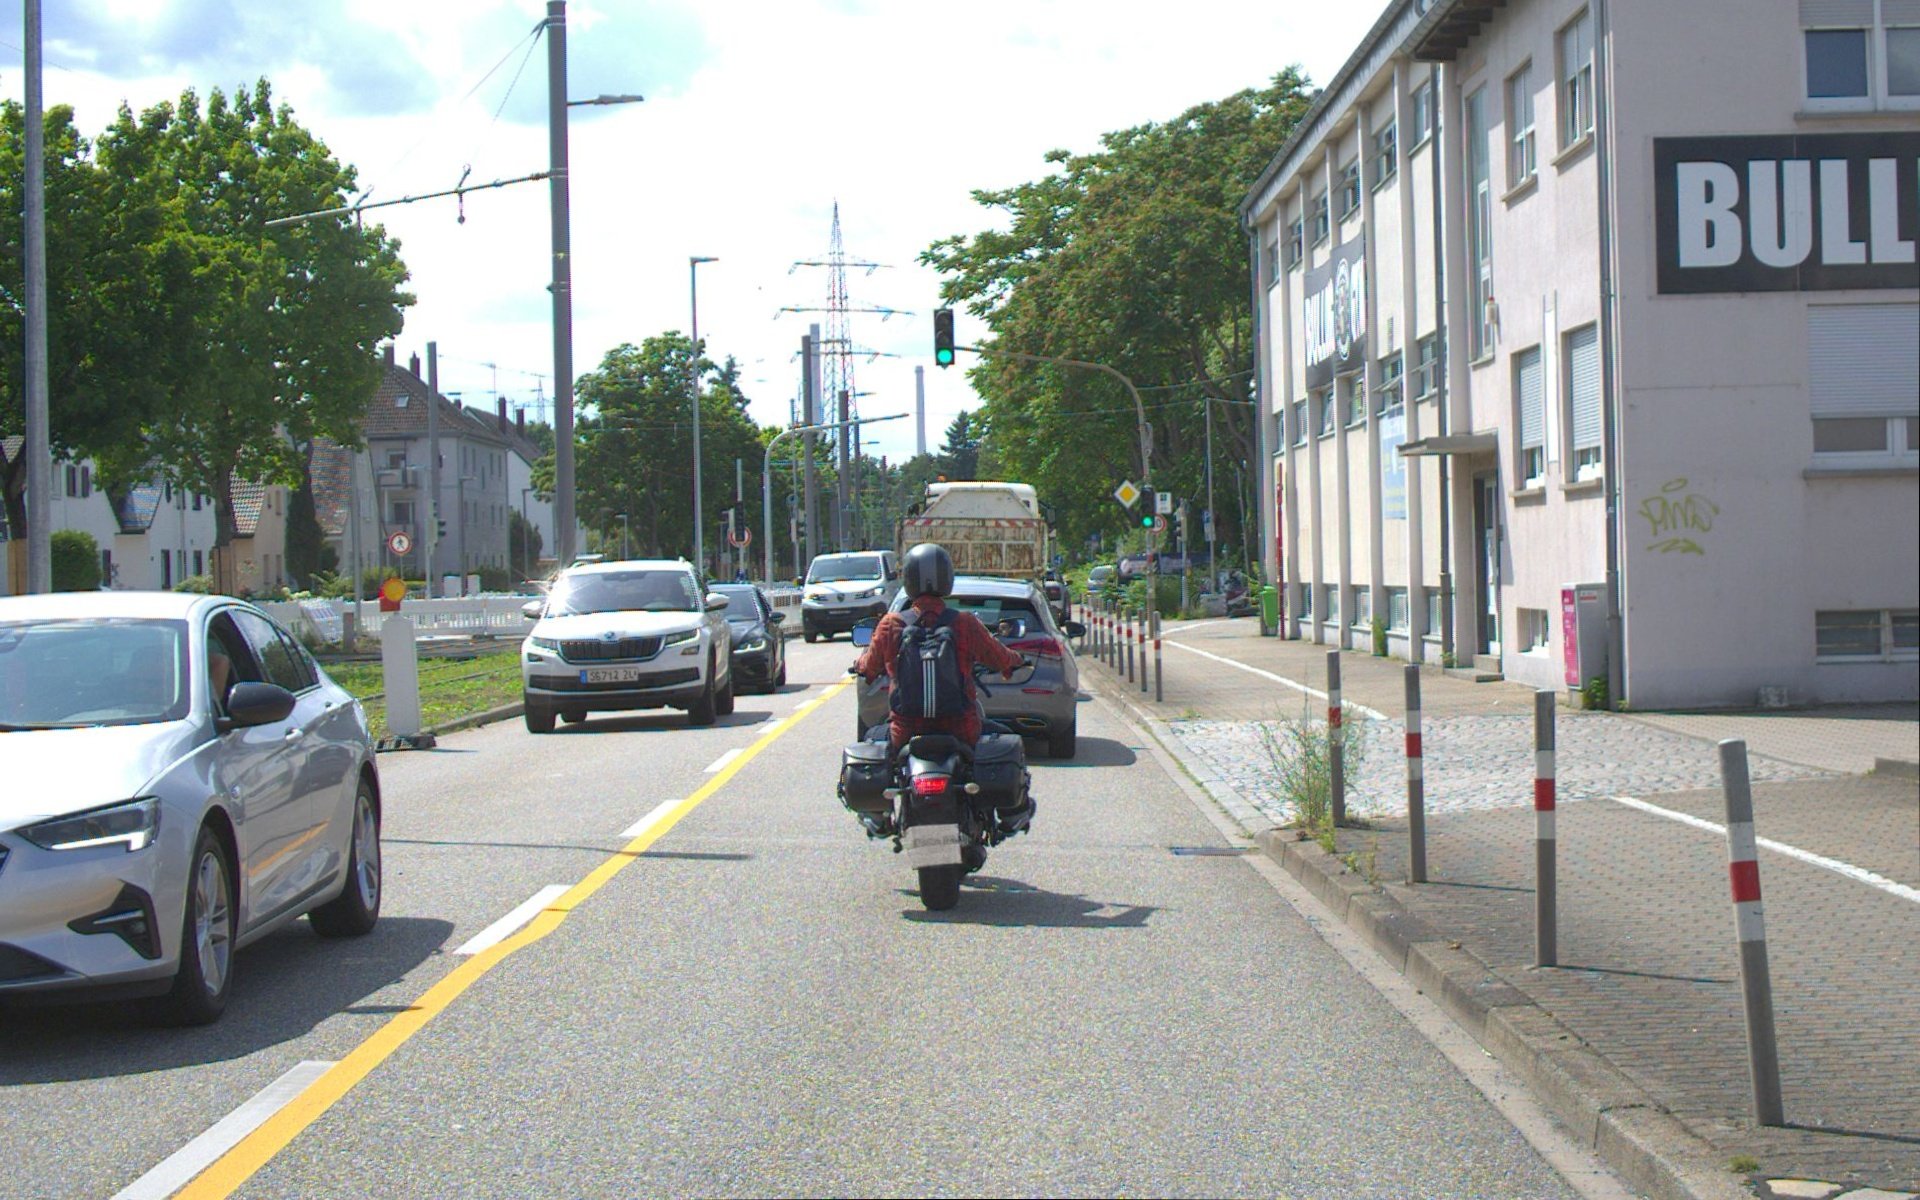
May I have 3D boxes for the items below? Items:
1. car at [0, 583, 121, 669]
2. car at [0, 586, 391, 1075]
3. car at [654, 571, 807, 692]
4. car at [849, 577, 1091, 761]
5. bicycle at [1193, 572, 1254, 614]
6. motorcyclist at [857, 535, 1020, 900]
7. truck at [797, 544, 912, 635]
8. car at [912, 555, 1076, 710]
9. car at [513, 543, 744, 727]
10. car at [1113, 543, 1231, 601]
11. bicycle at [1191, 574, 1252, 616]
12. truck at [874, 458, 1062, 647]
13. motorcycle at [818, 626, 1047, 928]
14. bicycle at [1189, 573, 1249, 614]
[{"bbox_3d":[-16.054,0.439,61.085,1.540,1.372,4.253,-4,1,-5],"label":"car"},{"bbox_3d":[-3.350,0.708,12.464,1.821,1.440,4.484,-2,0,0],"label":"car"},{"bbox_3d":[-3.005,0.397,45.647,1.692,1.408,3.859,-5,0,0],"label":"car"},{"bbox_3d":[0.012,0.528,29.036,1.731,1.399,4.087,1,0,-4],"label":"car"},{"bbox_3d":[7.501,-0.201,97.755,1.708,1.168,0.438,1,0,6],"label":"bicycle"},{"bbox_3d":[-0.090,0.517,15.513,0.698,1.599,0.692,1,0,1],"label":"motorcyclist"},{"bbox_3d":[-2.285,-0.262,75.797,1.820,1.903,5.115,1,1,6],"label":"truck"},{"bbox_3d":[0.474,0.355,42.902,1.901,1.706,4.719,-1,2,2],"label":"car"},{"bbox_3d":[-3.259,0.330,34.564,1.824,1.660,4.462,-2,0,0],"label":"car"},{"bbox_3d":[7.268,-0.945,117.895,3.989,1.919,1.802,1,0,-44],"label":"car"},{"bbox_3d":[7.476,-0.149,98.305,1.708,1.168,0.438,1,0,6],"label":"bicycle"},{"bbox_3d":[0.247,-0.807,62.284,2.968,3.162,7.763,1,0,3],"label":"truck"},{"bbox_3d":[-0.102,0.748,15.588,0.942,1.196,2.472,1,1,1],"label":"motorcycle"},{"bbox_3d":[7.456,-0.188,98.870,1.708,1.168,0.438,1,0,6],"label":"bicycle"}]
